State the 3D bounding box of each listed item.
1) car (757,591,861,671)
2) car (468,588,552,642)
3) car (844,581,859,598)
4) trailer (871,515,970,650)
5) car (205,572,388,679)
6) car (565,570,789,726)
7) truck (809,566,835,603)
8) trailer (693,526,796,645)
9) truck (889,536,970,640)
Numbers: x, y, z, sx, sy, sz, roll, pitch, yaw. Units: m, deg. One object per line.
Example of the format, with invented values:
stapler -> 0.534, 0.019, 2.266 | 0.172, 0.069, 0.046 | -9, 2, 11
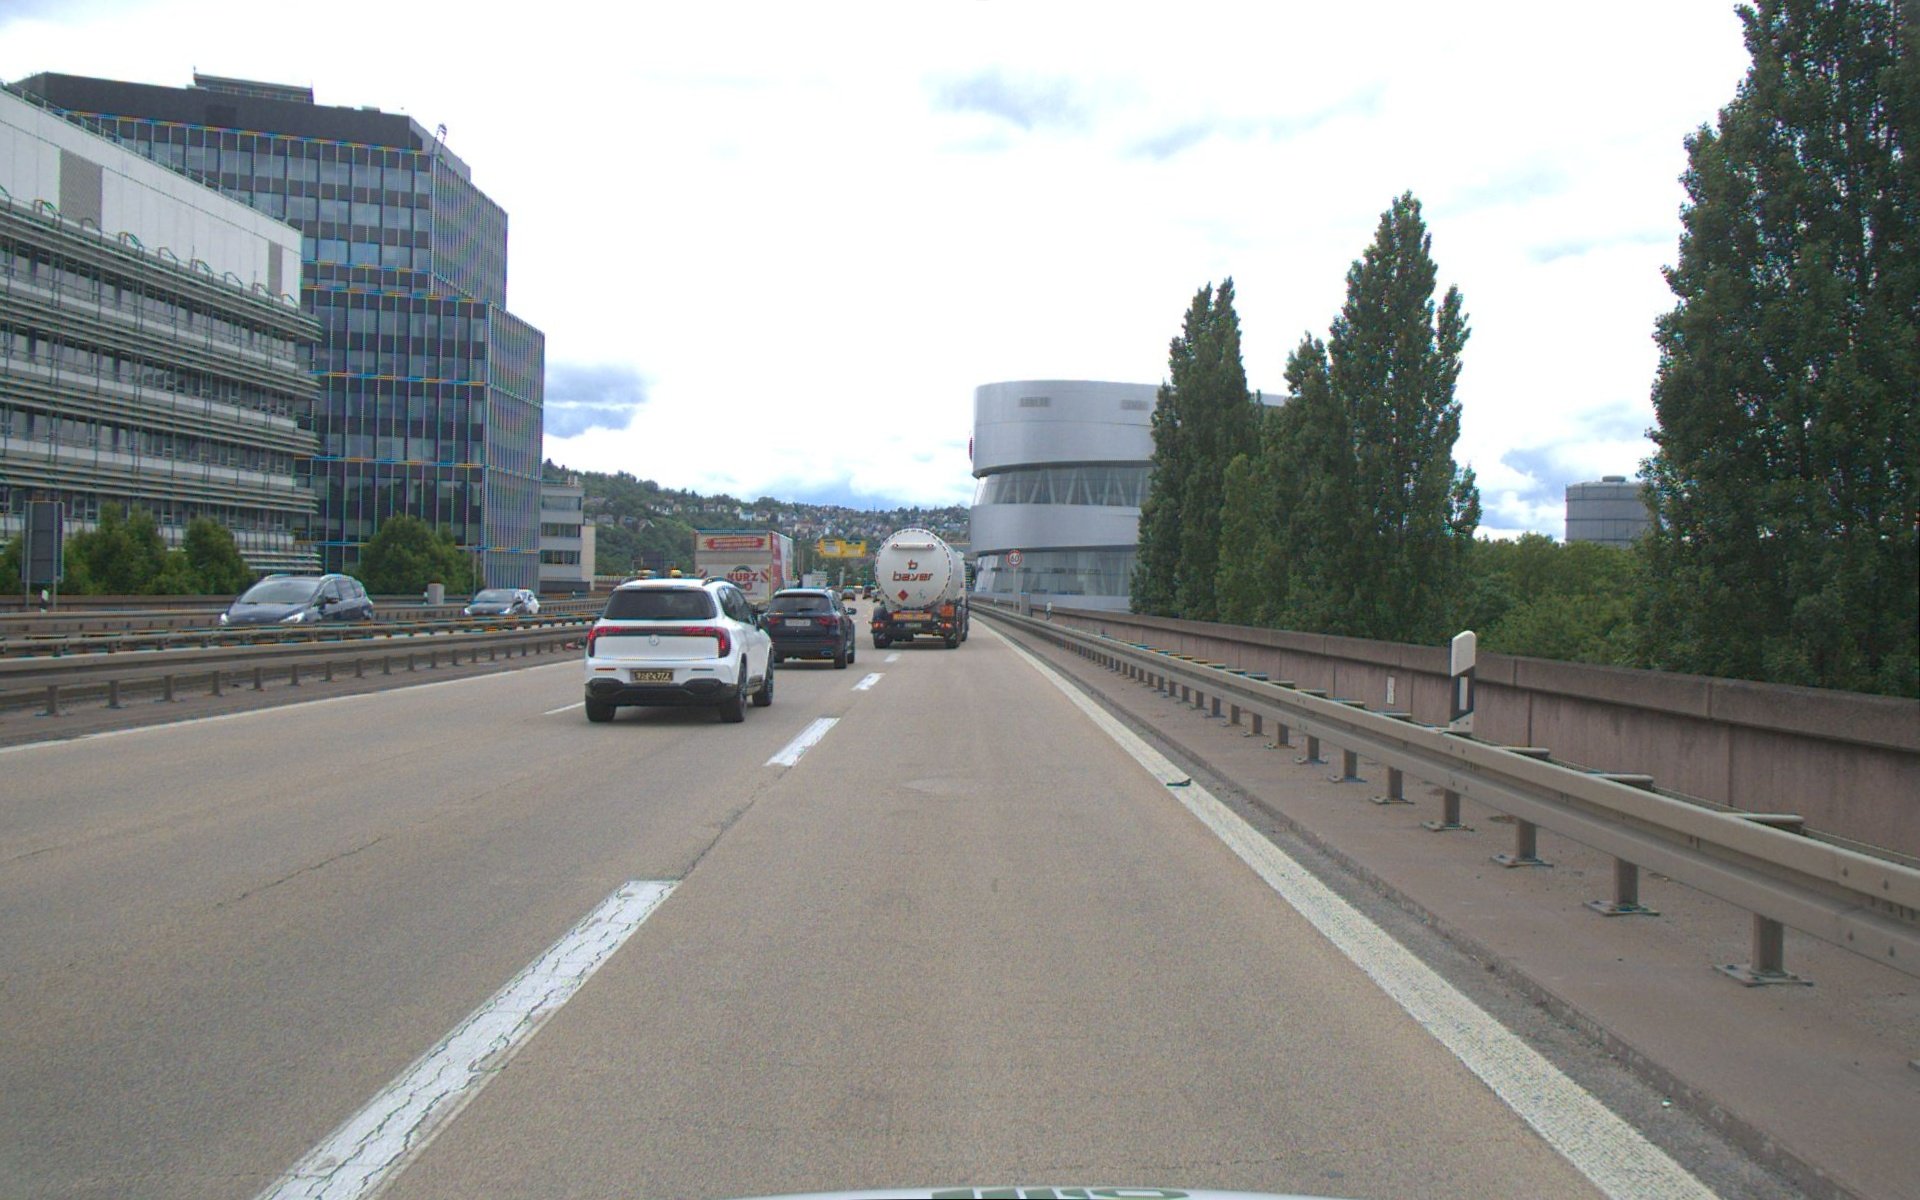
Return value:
car -> -3.139, 0.618, 35.178 | 1.809, 1.531, 4.265 | 2, 0, 0
car -> -15.799, 0.492, 58.222 | 1.953, 1.824, 3.999 | 0, 0, -2
car -> -13.674, -1.347, 208.460 | 1.954, 2.049, 3.997 | 0, 0, -4
trailer -> -1.090, -0.546, 52.399 | 2.734, 3.802, 11.156 | 0, 0, 1
car -> -13.641, 0.474, 34.320 | 1.953, 2.049, 4.551 | 0, 0, 0
car -> -3.426, 0.549, 20.984 | 1.953, 1.697, 4.891 | 2, 0, 0
truck -> -14.970, -1.692, 179.457 | 2.346, 3.961, 5.942 | 0, 0, -1
trailer -> -7.219, -0.482, 56.222 | 2.636, 3.754, 7.311 | 0, 0, -1
truck -> -1.024, -0.422, 58.959 | 2.712, 3.490, 5.965 | 0, 0, 0
